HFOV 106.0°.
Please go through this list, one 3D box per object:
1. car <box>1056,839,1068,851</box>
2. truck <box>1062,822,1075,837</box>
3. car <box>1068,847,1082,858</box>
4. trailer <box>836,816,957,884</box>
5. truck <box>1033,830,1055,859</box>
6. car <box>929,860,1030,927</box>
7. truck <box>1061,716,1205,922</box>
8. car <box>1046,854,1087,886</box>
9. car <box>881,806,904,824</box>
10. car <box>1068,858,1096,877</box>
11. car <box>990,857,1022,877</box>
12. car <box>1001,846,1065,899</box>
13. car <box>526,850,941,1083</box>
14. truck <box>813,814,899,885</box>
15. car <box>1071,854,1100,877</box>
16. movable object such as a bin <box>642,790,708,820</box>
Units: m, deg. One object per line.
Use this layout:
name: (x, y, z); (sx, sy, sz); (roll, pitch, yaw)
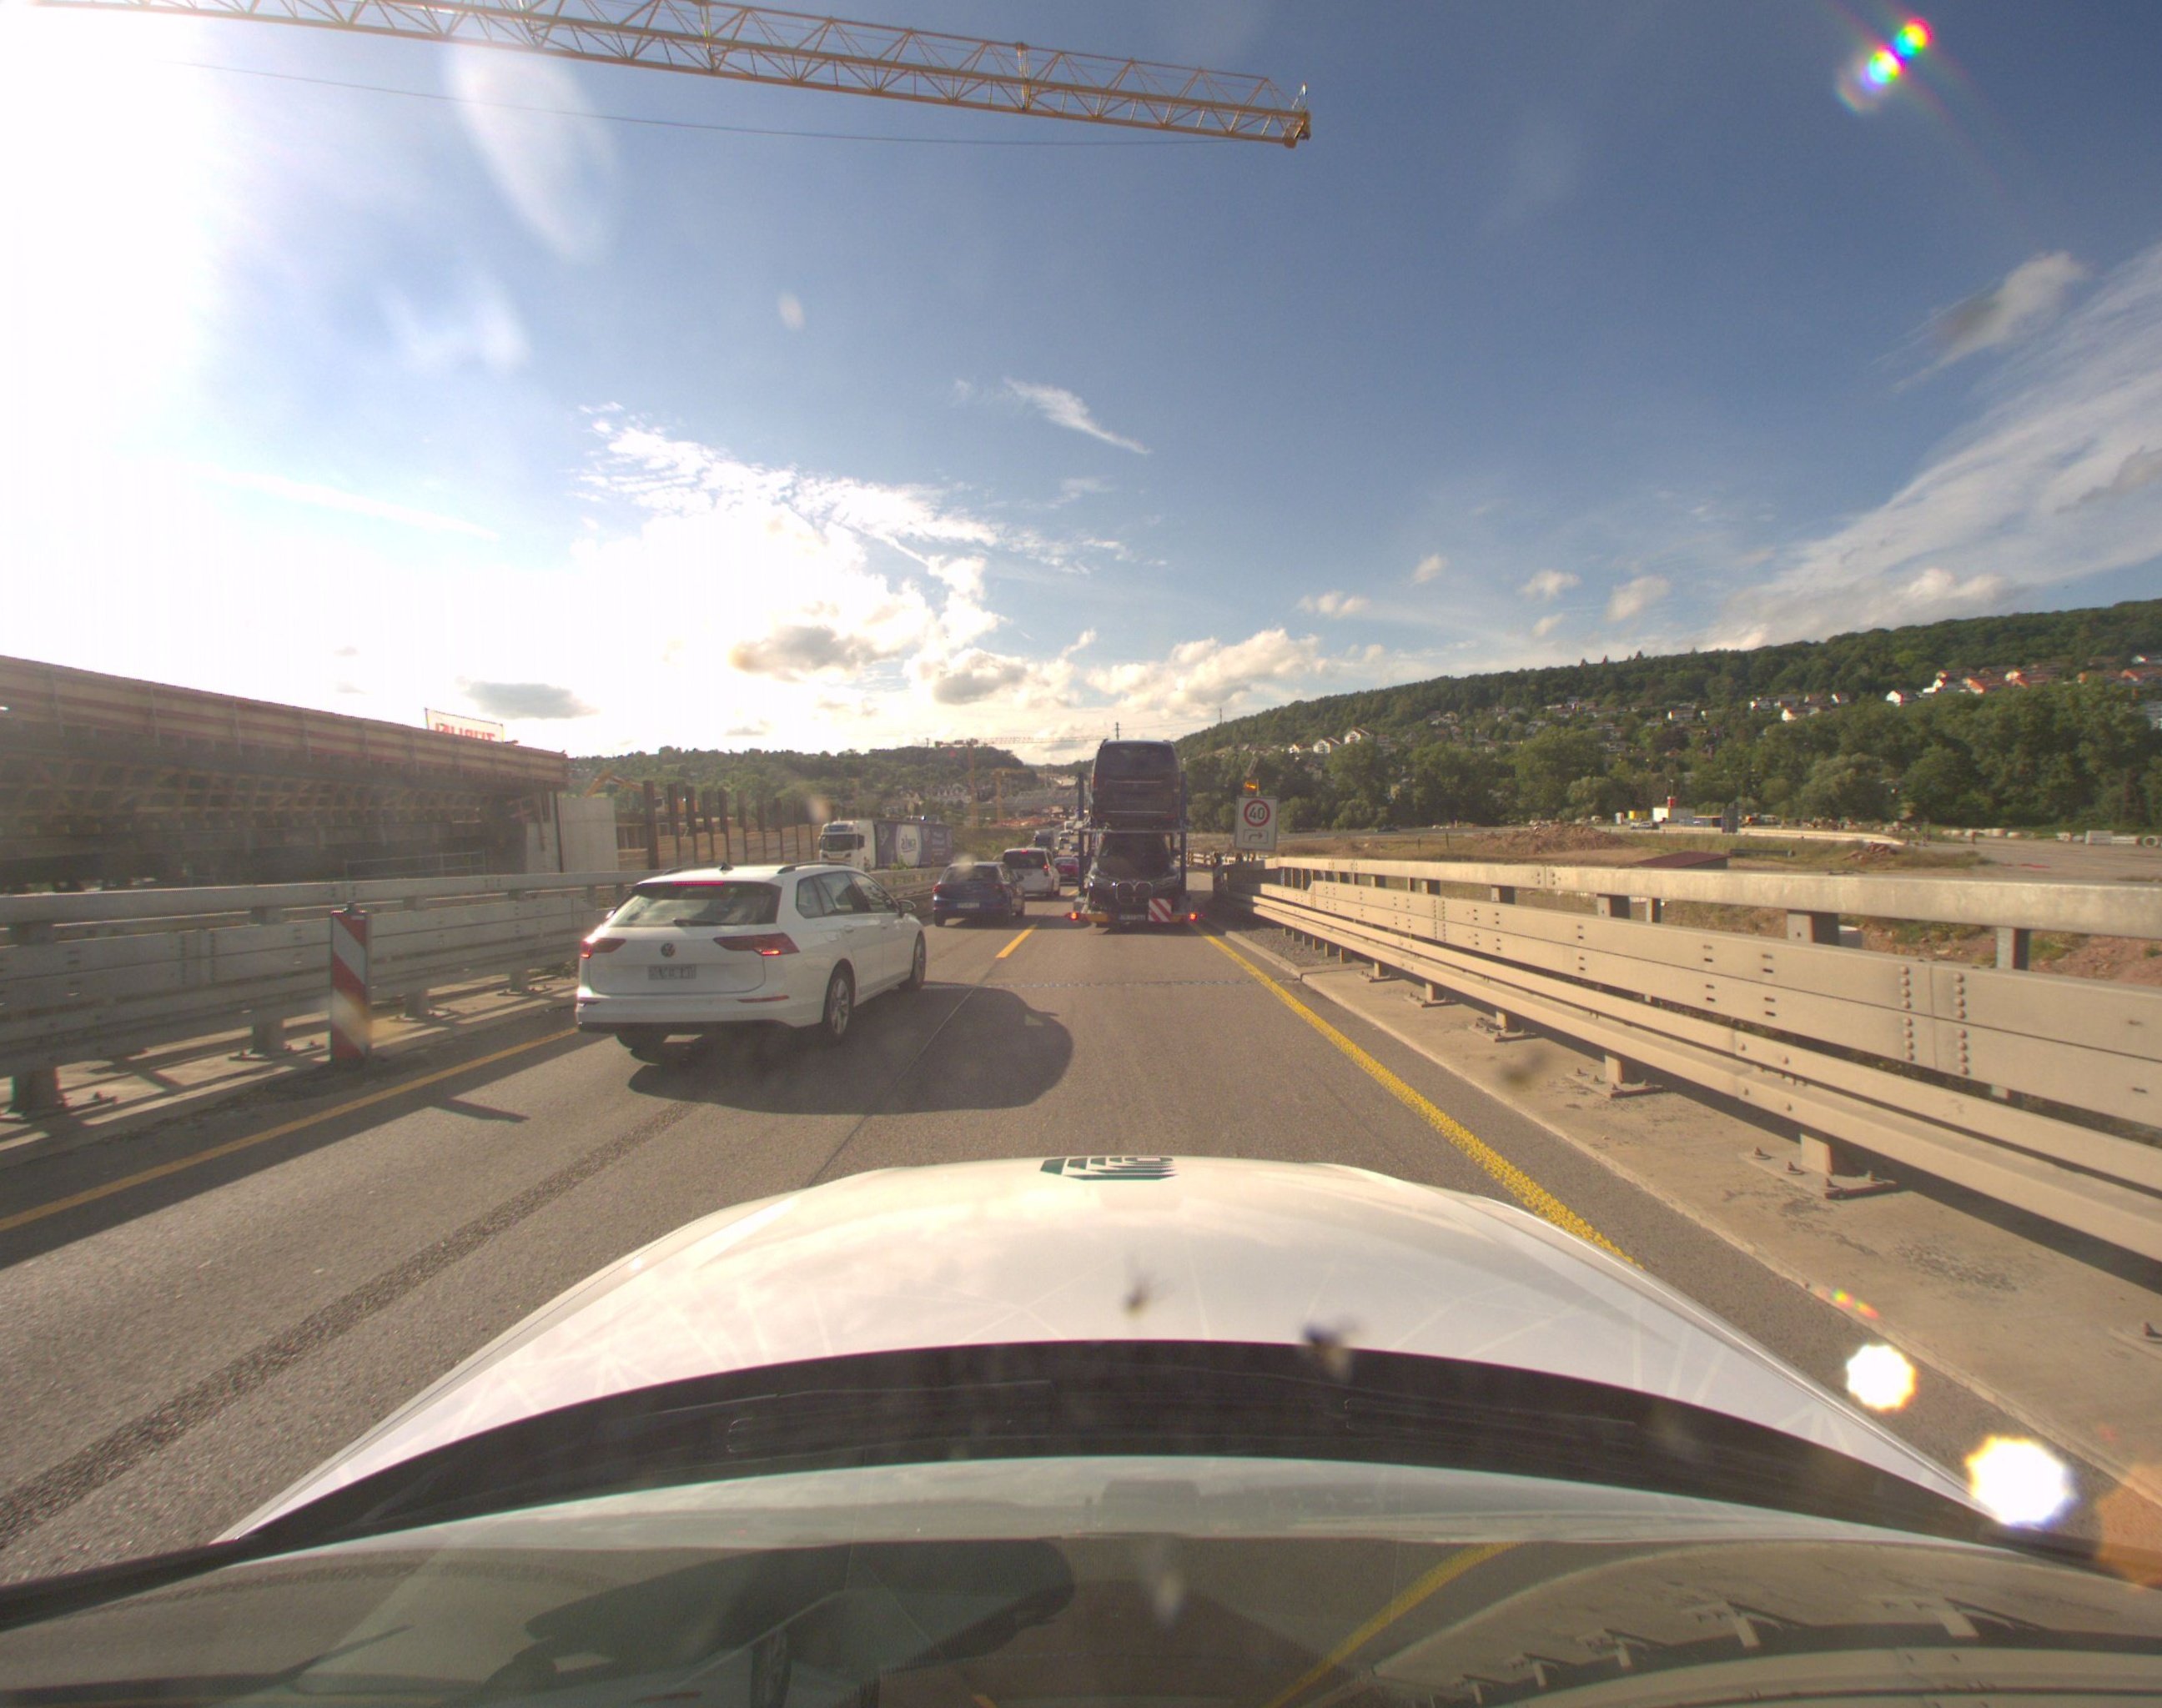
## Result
car: (-3.989, -1.792, 168.326); (2.250, 2.402, 5.867); (0, -1, 1)
truck: (-3.092, -5.912, 200.939); (2.690, 3.312, 7.541); (-1, -1, 2)
car: (-0.992, -0.237, 137.718); (1.985, 1.726, 4.126); (-1, -1, 3)
trailer: (-12.490, -0.154, 57.158); (2.669, 4.156, 13.857); (-1, -1, 12)
truck: (-5.091, -1.307, 111.787); (2.768, 3.788, 6.015); (0, -1, -1)
car: (-2.308, 0.871, 19.568); (1.715, 1.422, 4.003); (0, 0, 3)
truck: (1.261, -0.560, 25.119); (2.743, 3.955, 18.894); (0, -1, 2)
car: (-0.730, 0.838, 43.404); (1.986, 1.556, 4.402); (-1, -1, 1)
car: (-28.492, -5.886, 123.350); (1.986, 2.140, 5.323); (-6, -1, 1)
car: (0.123, 1.111, 67.014); (1.985, 1.552, 4.003); (-1, -1, 3)
car: (-6.758, 1.193, 73.923); (1.912, 1.767, 4.337); (-1, -1, 9)
car: (-1.668, 0.653, 29.451); (1.815, 1.792, 4.003); (-1, -1, 3)
car: (-2.718, 0.784, 7.696); (1.763, 1.491, 4.519); (-2, -1, 3)
truck: (-13.890, -0.225, 50.765); (2.693, 4.137, 5.990); (-1, -1, 12)
car: (0.377, 0.834, 57.844); (1.986, 1.552, 4.001); (-1, -1, 1)
movable object such as a bin: (-50.211, -6.004, 100.772); (5.705, 3.270, 4.527); (-1, -1, 13)
